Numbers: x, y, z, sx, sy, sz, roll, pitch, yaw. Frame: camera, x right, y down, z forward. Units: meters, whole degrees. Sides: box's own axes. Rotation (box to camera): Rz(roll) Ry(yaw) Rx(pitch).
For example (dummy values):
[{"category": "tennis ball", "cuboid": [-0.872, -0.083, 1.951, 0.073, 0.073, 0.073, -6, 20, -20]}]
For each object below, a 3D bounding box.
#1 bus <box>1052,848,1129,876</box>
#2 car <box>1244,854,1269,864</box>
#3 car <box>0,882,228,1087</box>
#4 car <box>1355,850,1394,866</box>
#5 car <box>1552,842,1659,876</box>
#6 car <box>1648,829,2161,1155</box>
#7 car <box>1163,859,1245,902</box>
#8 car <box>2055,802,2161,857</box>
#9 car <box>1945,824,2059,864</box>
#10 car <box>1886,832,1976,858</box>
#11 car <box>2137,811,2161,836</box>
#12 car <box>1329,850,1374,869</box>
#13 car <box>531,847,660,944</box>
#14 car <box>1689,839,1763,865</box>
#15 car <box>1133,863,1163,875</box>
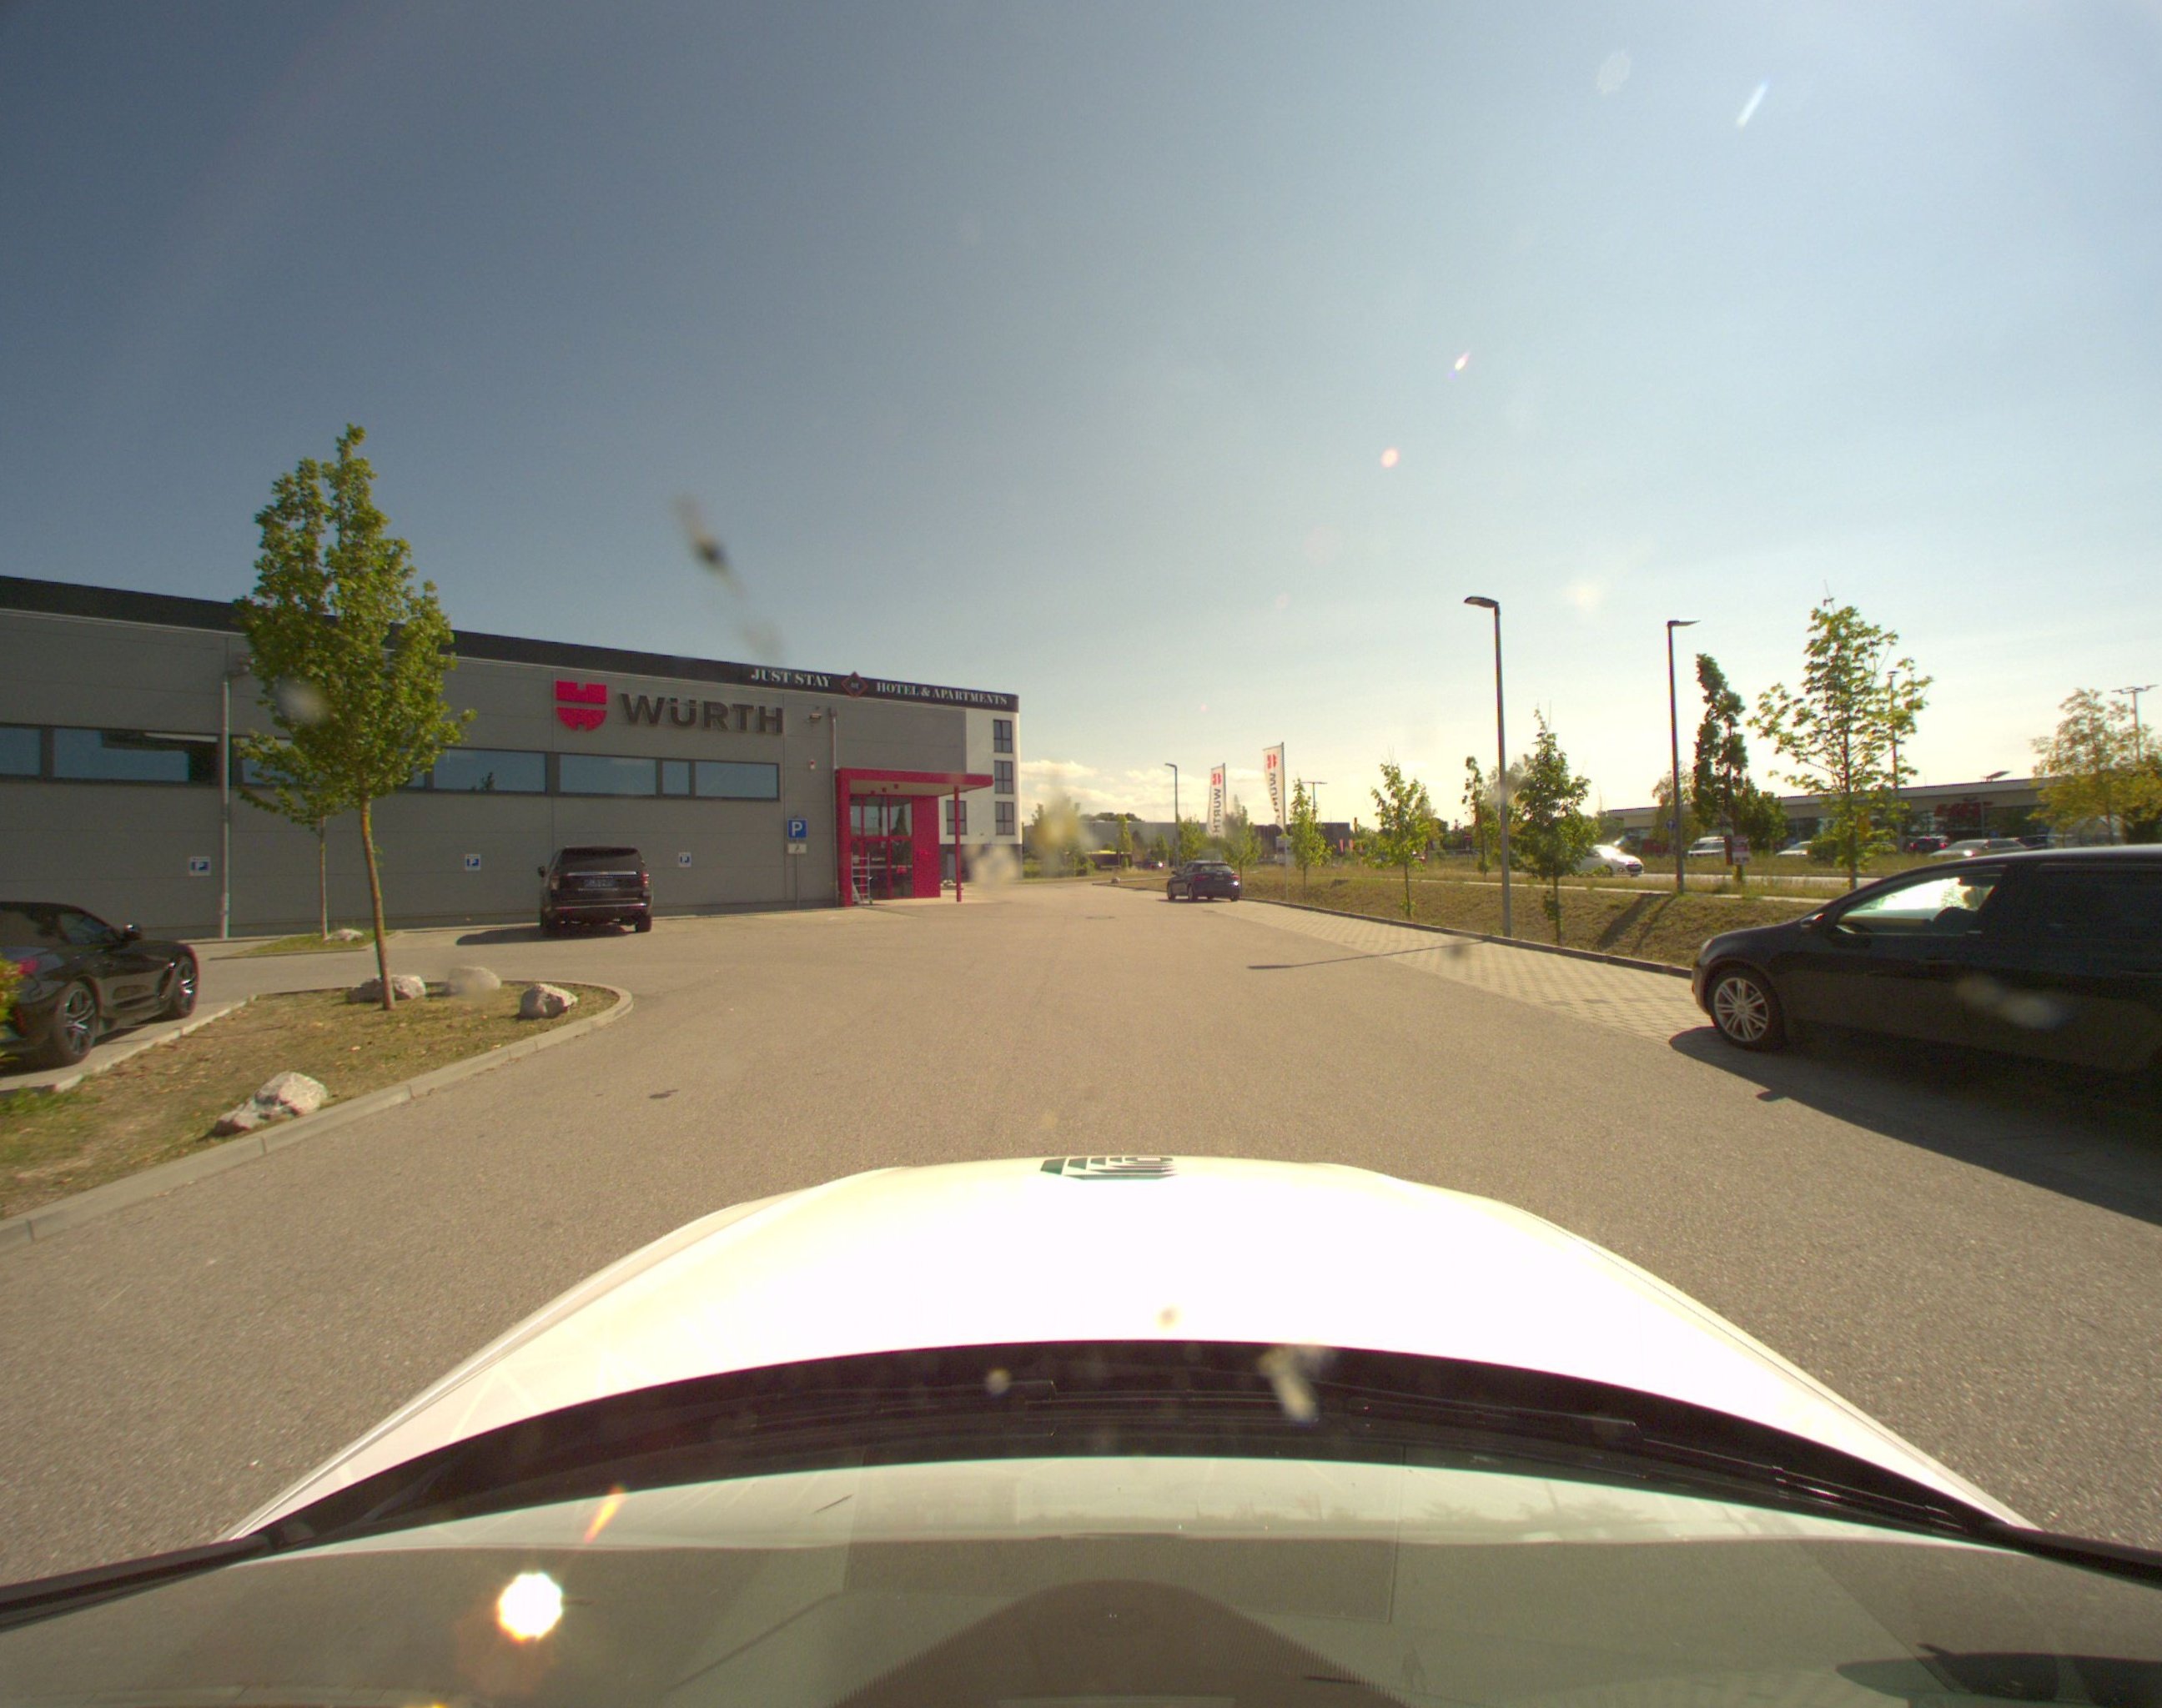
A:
[{"category": "bus", "cuboid": [1.394, 1.096, 111.523, 11.300, 3.557, 2.547, -1, 0, -36]}, {"category": "car", "cuboid": [29.717, 0.847, 138.204, 3.973, 1.658, 1.887, -1, 0, -32]}, {"category": "car", "cuboid": [-9.416, 1.004, 7.161, 1.876, 1.362, 4.328, -1, 0, -36]}, {"category": "car", "cuboid": [28.917, 0.394, 80.168, 3.726, 1.395, 1.575, -1, 0, -29]}, {"category": "car", "cuboid": [24.293, 0.211, 37.917, 1.875, 1.483, 3.980, -1, 0, -14]}, {"category": "car", "cuboid": [5.854, 0.625, 4.883, 1.832, 1.477, 4.114, -3, 0, -4]}, {"category": "car", "cuboid": [4.310, 0.907, 29.129, 1.699, 1.406, 3.882, -1, -1, -11]}, {"category": "car", "cuboid": [48.358, -1.118, 37.874, 5.069, 2.455, 1.990, -1, 0, -16]}, {"category": "car", "cuboid": [48.912, -0.534, 43.247, 5.069, 2.013, 1.990, -1, 0, -16]}, {"category": "car", "cuboid": [56.536, -0.576, 54.230, 1.905, 1.618, 3.661, -1, 0, -17]}, {"category": "car", "cuboid": [64.399, -1.824, 47.293, 1.431, 1.400, 3.464, -1, 0, -17]}, {"category": "car", "cuboid": [24.047, 0.475, 72.433, 3.672, 1.598, 1.701, -1, 0, -24]}, {"category": "car", "cuboid": [-11.191, 0.829, 18.576, 2.087, 1.880, 4.825, -1, 0, -36]}, {"category": "car", "cuboid": [43.518, -0.142, 55.004, 3.652, 1.618, 1.837, -1, 0, -6]}, {"category": "car", "cuboid": [7.768, 1.712, 94.795, 1.658, 1.385, 3.477, -1, 0, -32]}]
